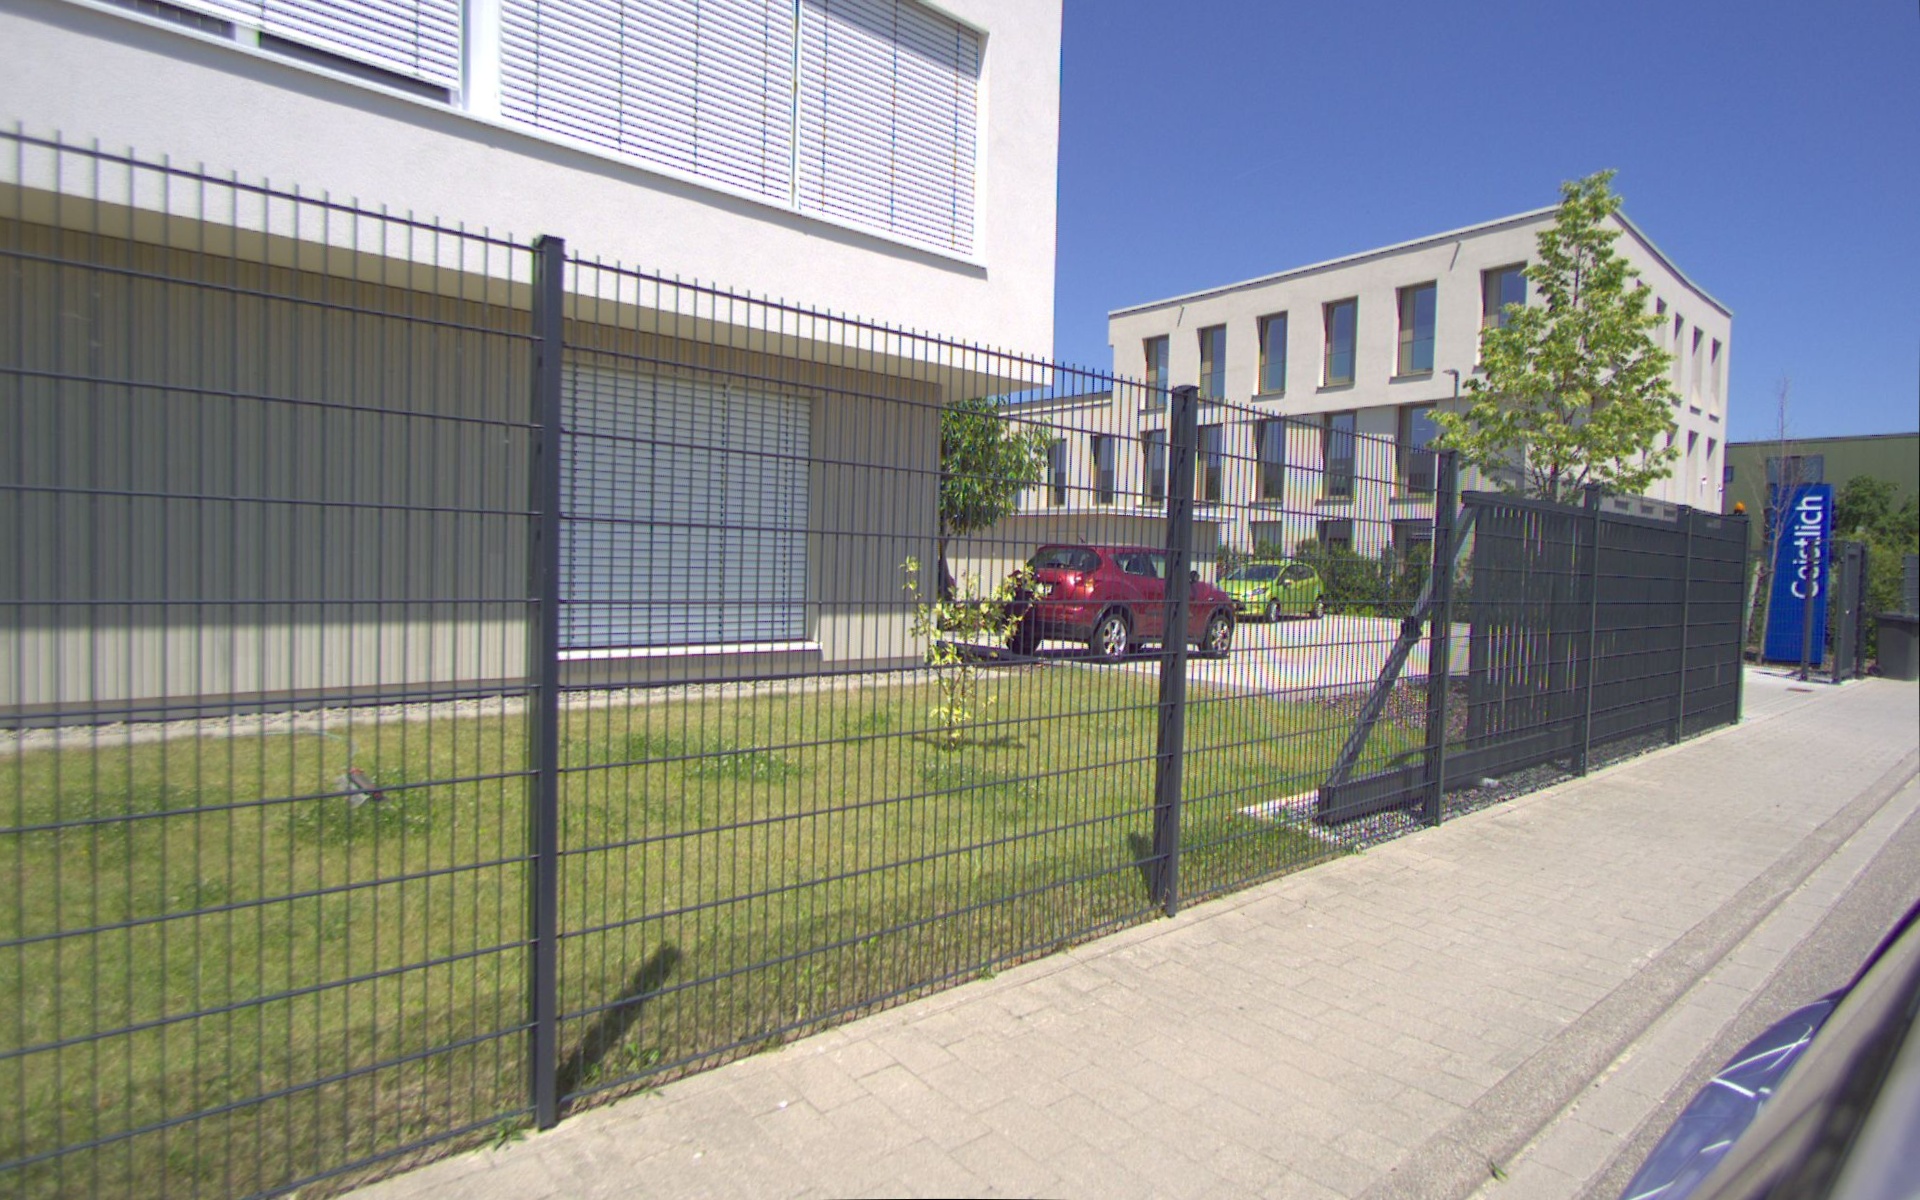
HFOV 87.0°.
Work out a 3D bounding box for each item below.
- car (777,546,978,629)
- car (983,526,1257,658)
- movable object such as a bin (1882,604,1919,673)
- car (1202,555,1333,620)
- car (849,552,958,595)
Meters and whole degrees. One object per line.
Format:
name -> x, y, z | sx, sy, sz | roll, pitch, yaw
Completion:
car -> -1.531, -0.233, 19.582 | 3.615, 1.450, 1.671 | 1, 1, -43
car -> 2.340, -0.105, 14.147 | 4.010, 1.577, 1.670 | 1, 1, -44
movable object such as a bin -> 15.430, 0.621, 16.280 | 0.686, 1.061, 0.749 | -1, 3, -40
car -> 7.608, -0.342, 24.882 | 1.610, 1.482, 3.544 | 2, 2, 45
car -> -2.053, -0.968, 37.682 | 3.872, 1.450, 1.671 | 1, 1, -43
